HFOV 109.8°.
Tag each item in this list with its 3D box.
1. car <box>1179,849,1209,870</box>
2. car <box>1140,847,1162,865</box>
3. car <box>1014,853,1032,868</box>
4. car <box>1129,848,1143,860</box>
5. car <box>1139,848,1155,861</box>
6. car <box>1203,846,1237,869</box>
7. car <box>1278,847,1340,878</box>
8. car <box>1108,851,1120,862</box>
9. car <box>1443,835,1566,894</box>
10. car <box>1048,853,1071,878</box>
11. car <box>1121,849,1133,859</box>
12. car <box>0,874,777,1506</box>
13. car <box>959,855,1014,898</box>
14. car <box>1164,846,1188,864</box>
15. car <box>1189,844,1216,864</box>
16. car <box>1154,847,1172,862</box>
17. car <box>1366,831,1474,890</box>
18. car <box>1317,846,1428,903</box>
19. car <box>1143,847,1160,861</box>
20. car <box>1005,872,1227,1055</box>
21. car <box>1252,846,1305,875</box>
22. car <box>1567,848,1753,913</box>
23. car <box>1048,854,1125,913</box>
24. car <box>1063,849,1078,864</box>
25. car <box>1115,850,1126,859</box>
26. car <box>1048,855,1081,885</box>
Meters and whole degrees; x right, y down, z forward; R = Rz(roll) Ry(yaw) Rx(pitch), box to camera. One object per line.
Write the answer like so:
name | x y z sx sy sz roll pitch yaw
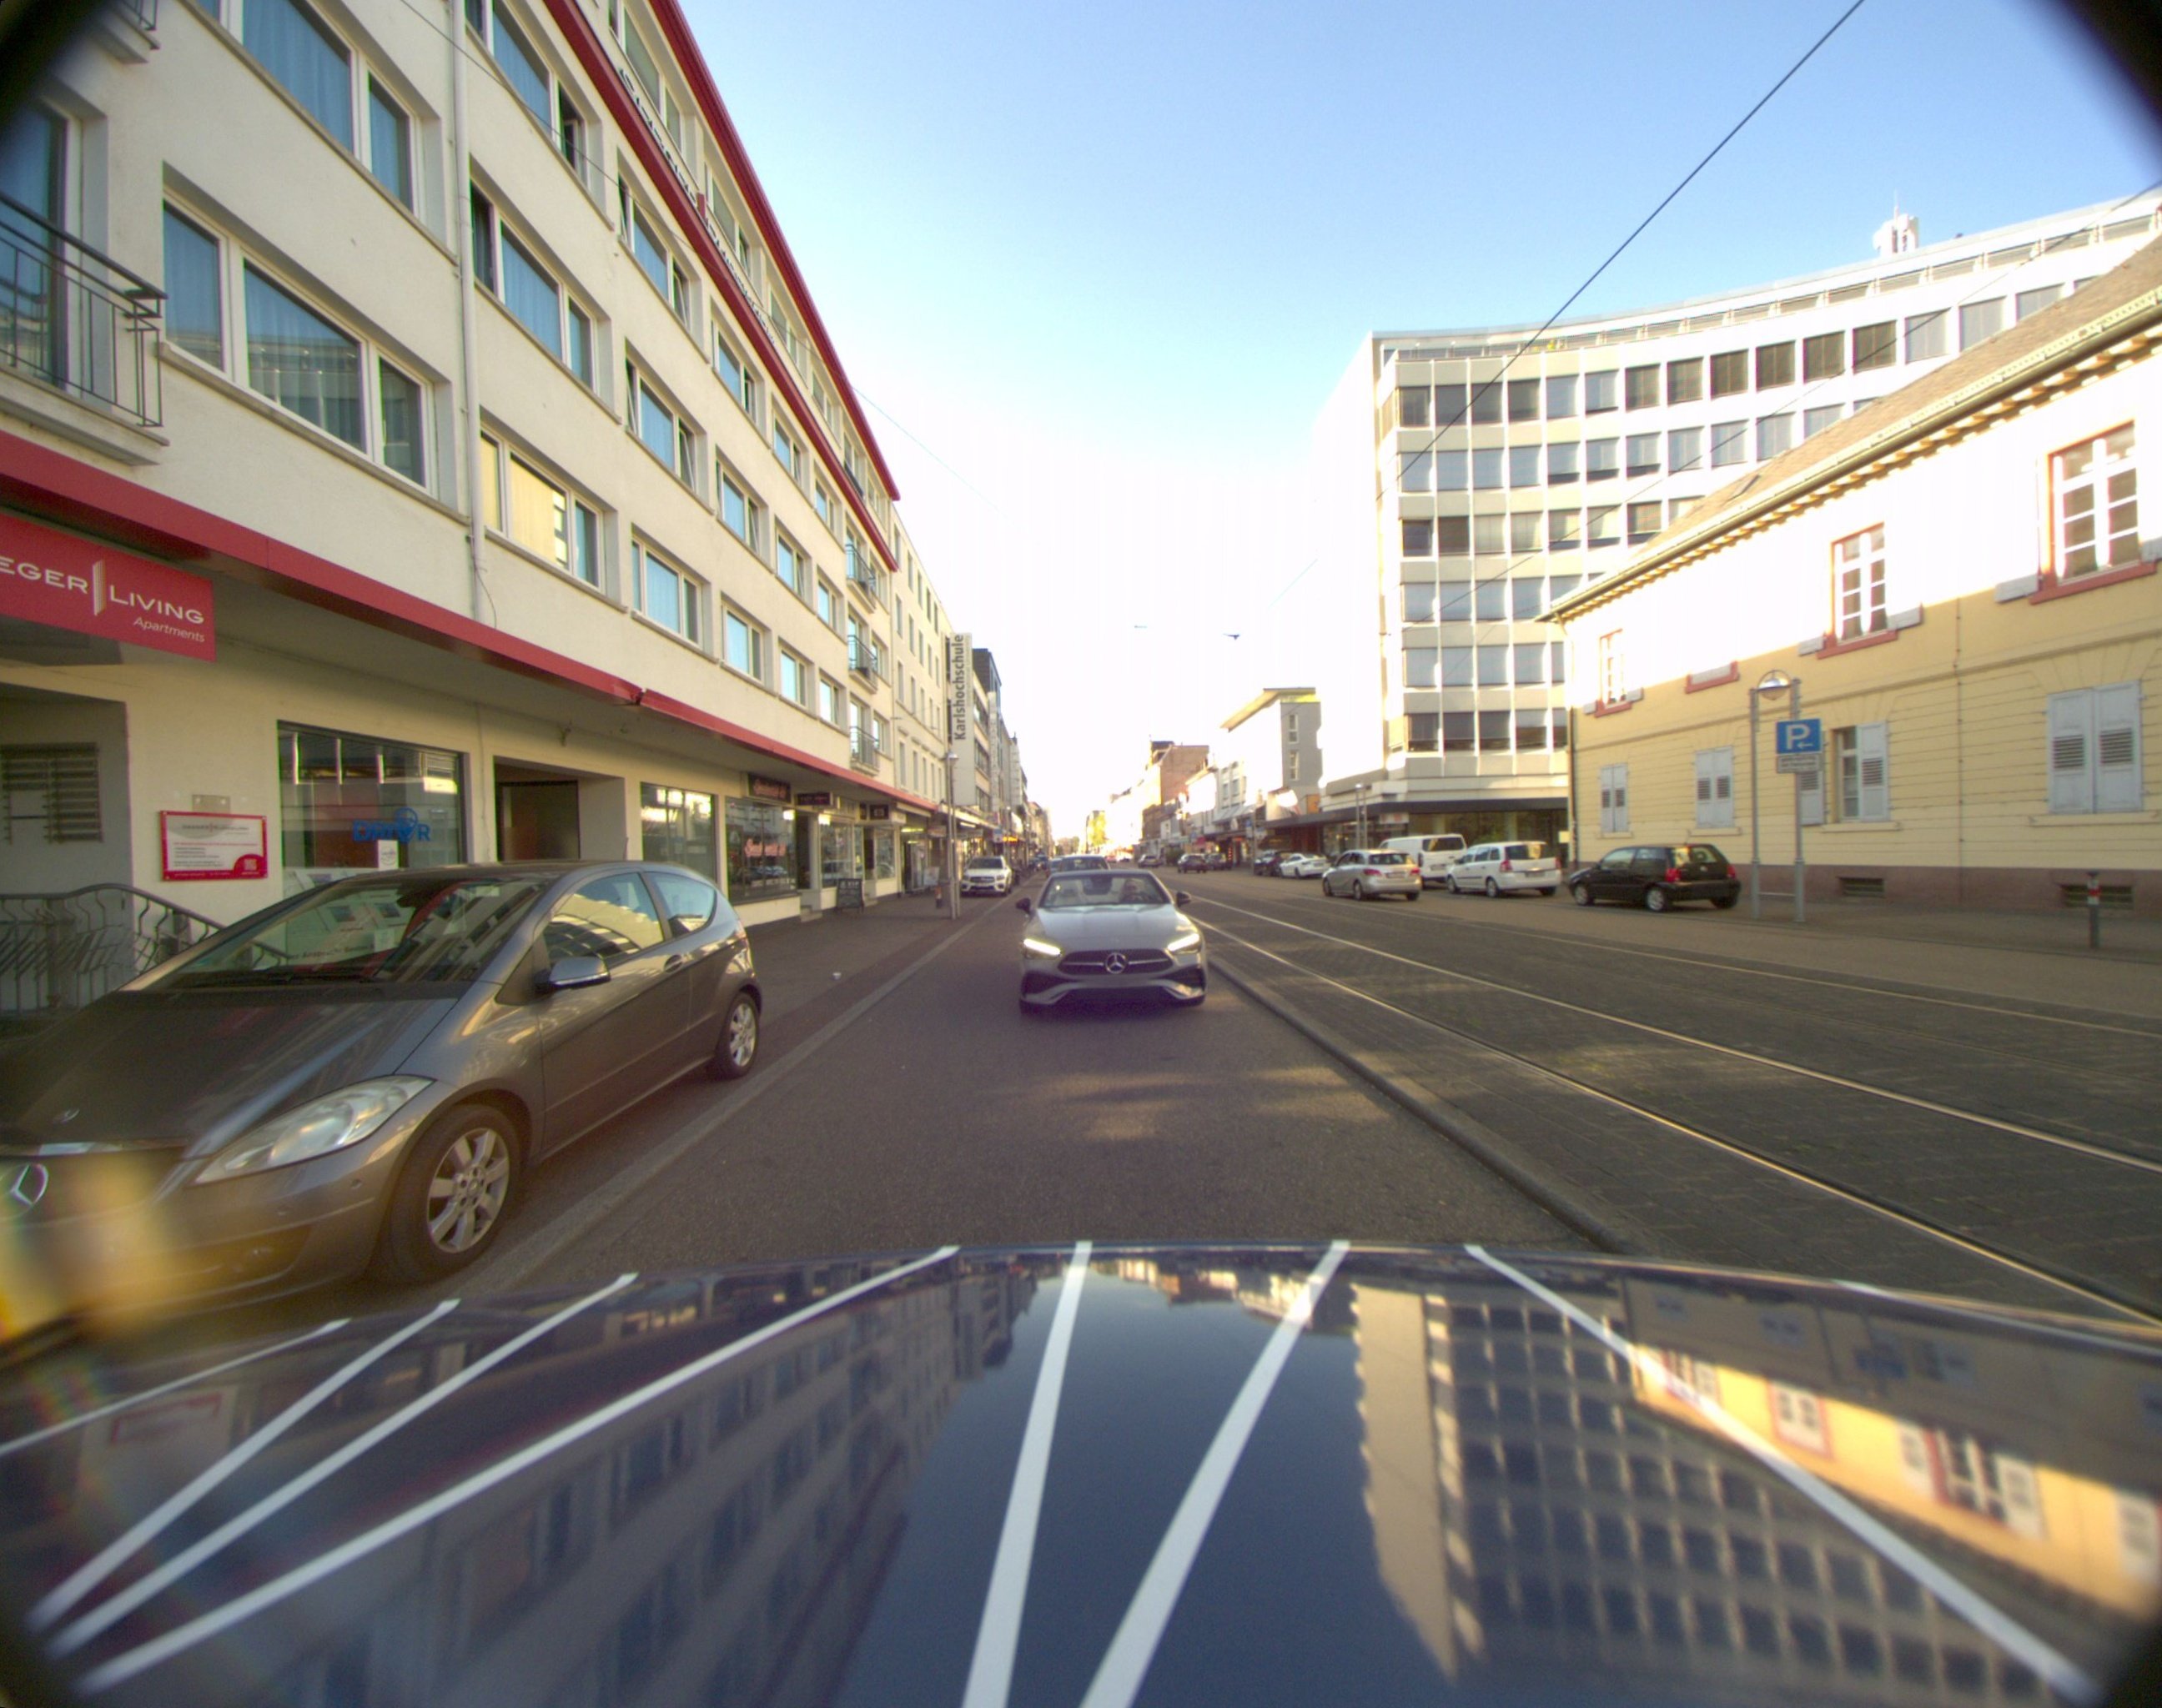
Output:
car | 8.739 0.380 59.237 1.964 1.499 4.000 -2 1 4
car | 7.853 0.192 85.043 1.914 1.883 3.855 -2 1 -2
car | -6.232 0.693 81.706 1.714 1.430 3.756 -2 1 -1
car | 9.912 0.006 137.253 1.999 2.002 3.999 -1 0 -2
car | 10.583 0.024 122.202 1.999 2.002 5.320 -1 0 -2
car | 11.917 0.275 65.478 1.999 1.849 3.998 -2 1 -2
car | 12.606 0.427 42.239 1.999 1.521 4.373 -2 1 -1
car | 6.586 0.487 150.647 1.999 2.002 3.998 -2 1 -2
car | 12.763 0.272 23.182 1.641 1.600 4.005 -2 1 3
car | -1.553 0.789 54.684 1.573 1.670 3.688 -2 1 -1
car | 9.541 -0.033 157.320 1.999 2.002 3.999 -1 0 -2
car | -3.228 0.955 3.970 1.683 1.537 3.999 -2 0 -1
car | -3.851 0.892 31.703 1.999 1.620 3.998 -1 0 -4
car | 11.269 0.096 90.305 2.200 2.030 3.999 -1 0 -1
car | 11.809 -0.010 74.066 1.789 1.870 3.999 -1 0 -2
car | 10.900 0.067 100.819 1.998 2.002 4.000 -1 0 1
car | 12.678 0.236 28.773 2.040 2.002 4.621 -1 0 1
car | 8.971 0.583 23.737 1.760 1.587 3.999 -1 0 -2
car | 10.612 -0.070 114.283 1.999 2.002 3.998 -2 1 -2
car | 0.169 0.987 8.581 1.884 1.375 3.998 -2 1 -4
car | 12.325 0.368 47.669 1.999 1.694 4.107 -3 1 -2
car | 12.862 0.526 17.131 1.688 1.246 3.212 -2 1 -1
car | 0.058 0.802 22.621 1.927 1.533 3.998 -2 0 -4
car | -1.335 0.326 97.111 1.769 1.793 3.999 -2 1 1
car | 9.187 0.106 176.141 2.148 1.850 3.998 -2 1 -2
car | -0.907 0.848 41.387 1.648 1.506 3.844 -2 0 -2
